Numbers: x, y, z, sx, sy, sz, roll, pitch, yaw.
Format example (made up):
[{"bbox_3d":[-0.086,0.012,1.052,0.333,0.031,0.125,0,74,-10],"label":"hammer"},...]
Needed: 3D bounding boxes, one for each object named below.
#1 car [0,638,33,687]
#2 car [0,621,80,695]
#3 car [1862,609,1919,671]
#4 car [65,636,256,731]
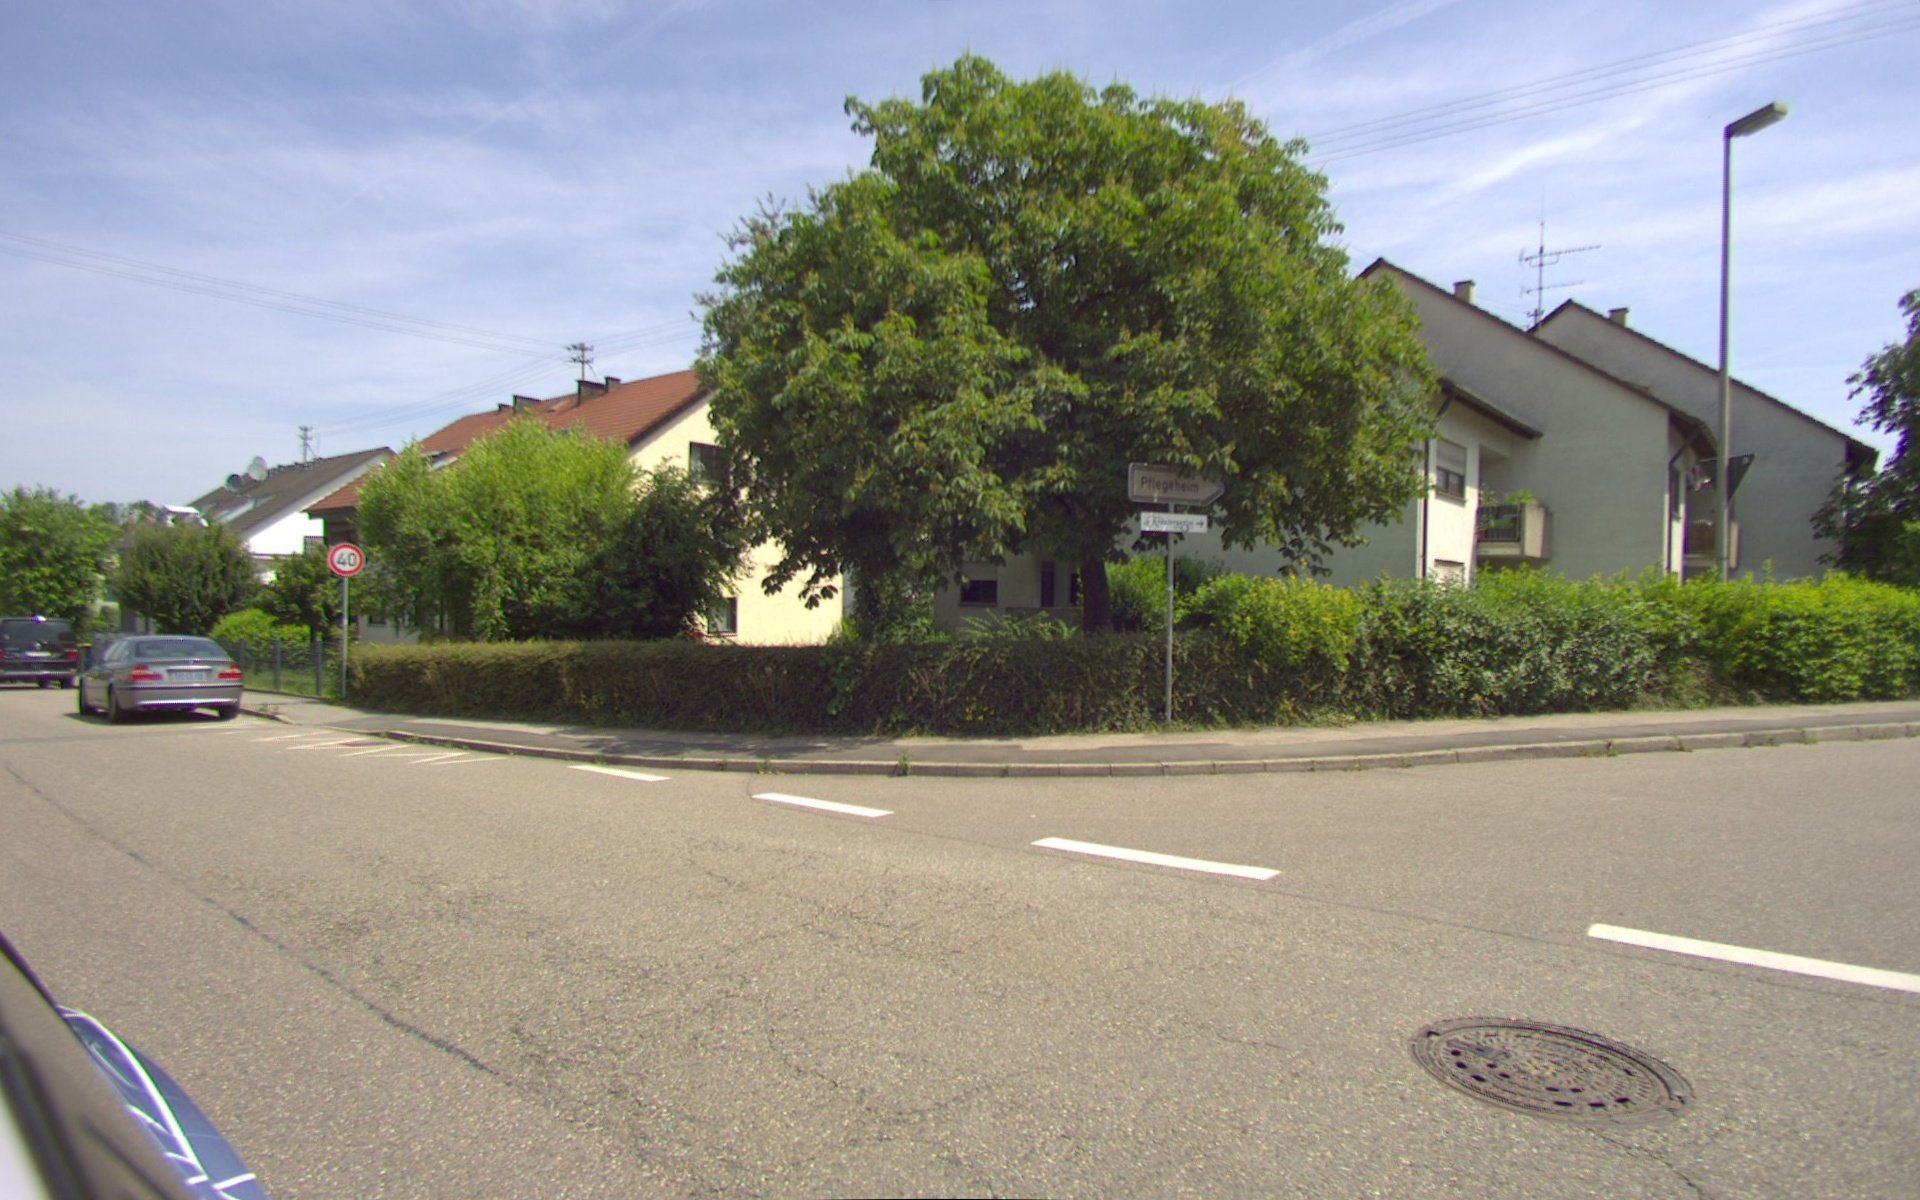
[{"bbox_3d":[-32.480,2.091,33.655,4.237,1.561,1.793,-3,-3,39],"label":"car"},{"bbox_3d":[-26.759,1.642,28.646,4.864,1.935,1.878,-3,-4,38],"label":"car"},{"bbox_3d":[22.256,0.888,22.066,1.374,1.372,3.618,0,0,-32],"label":"car"},{"bbox_3d":[-13.876,1.344,17.473,4.406,1.405,1.762,-1,-3,41],"label":"car"}]
